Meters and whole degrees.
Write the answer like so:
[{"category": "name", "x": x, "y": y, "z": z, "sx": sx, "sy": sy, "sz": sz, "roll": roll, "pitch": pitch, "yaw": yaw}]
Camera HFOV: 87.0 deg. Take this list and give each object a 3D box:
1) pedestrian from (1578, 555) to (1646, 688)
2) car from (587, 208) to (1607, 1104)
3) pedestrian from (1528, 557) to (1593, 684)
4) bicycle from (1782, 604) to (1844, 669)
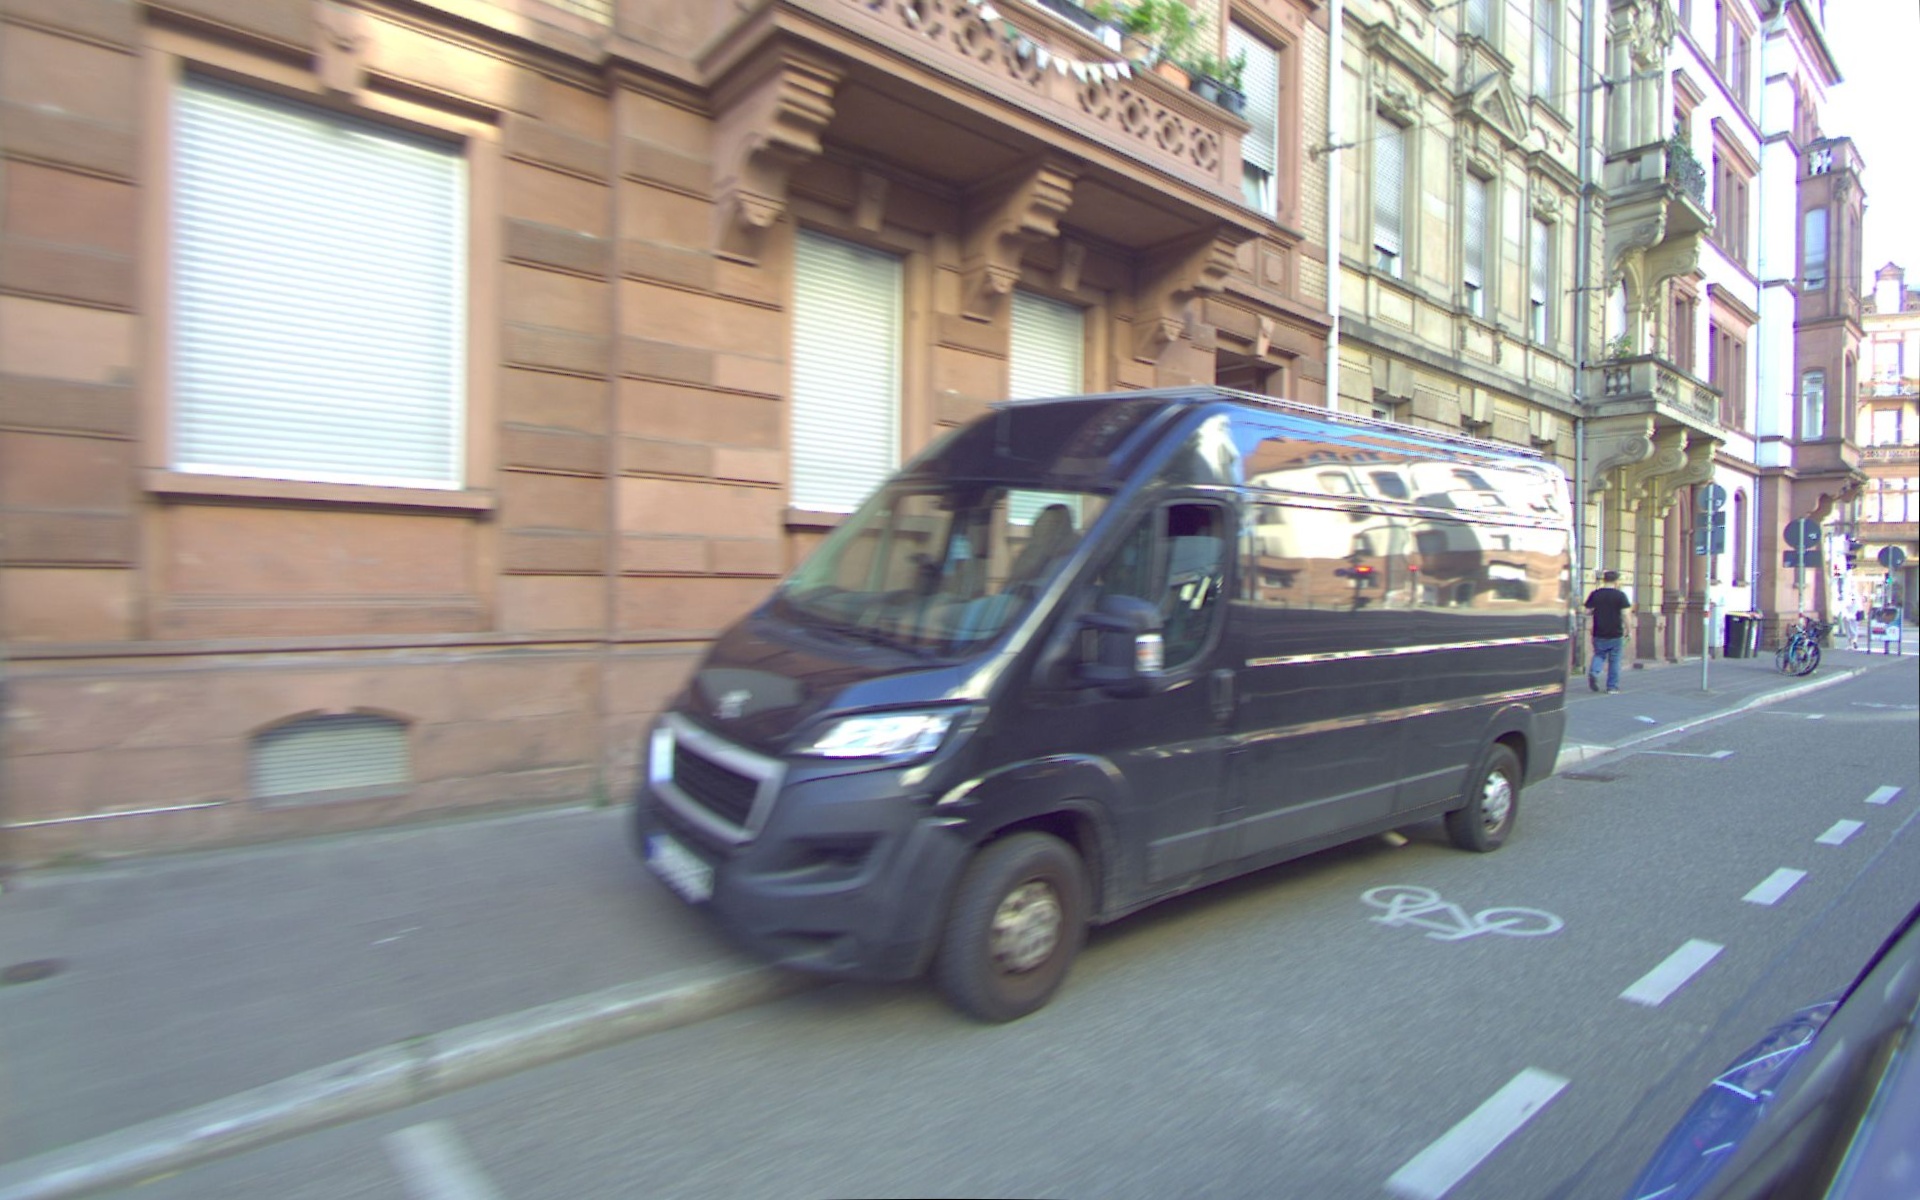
[{"category": "pedestrian", "x": 9.397, "y": 0.292, "z": 14.591, "sx": 0.742, "sy": 1.847, "sz": 0.634, "roll": 0, "pitch": 0, "yaw": -41}, {"category": "car", "x": 1.231, "y": 0.120, "z": 5.495, "sx": 5.750, "sy": 2.524, "sz": 2.128, "roll": -1, "pitch": 0, "yaw": -39}, {"category": "pedestrian", "x": 9.011, "y": 0.287, "z": 15.191, "sx": 0.742, "sy": 1.847, "sz": 0.634, "roll": 0, "pitch": 0, "yaw": -41}, {"category": "bicycle", "x": 16.235, "y": 0.665, "z": 19.250, "sx": 1.659, "sy": 1.164, "sz": 0.647, "roll": 0, "pitch": 1, "yaw": -41}]
